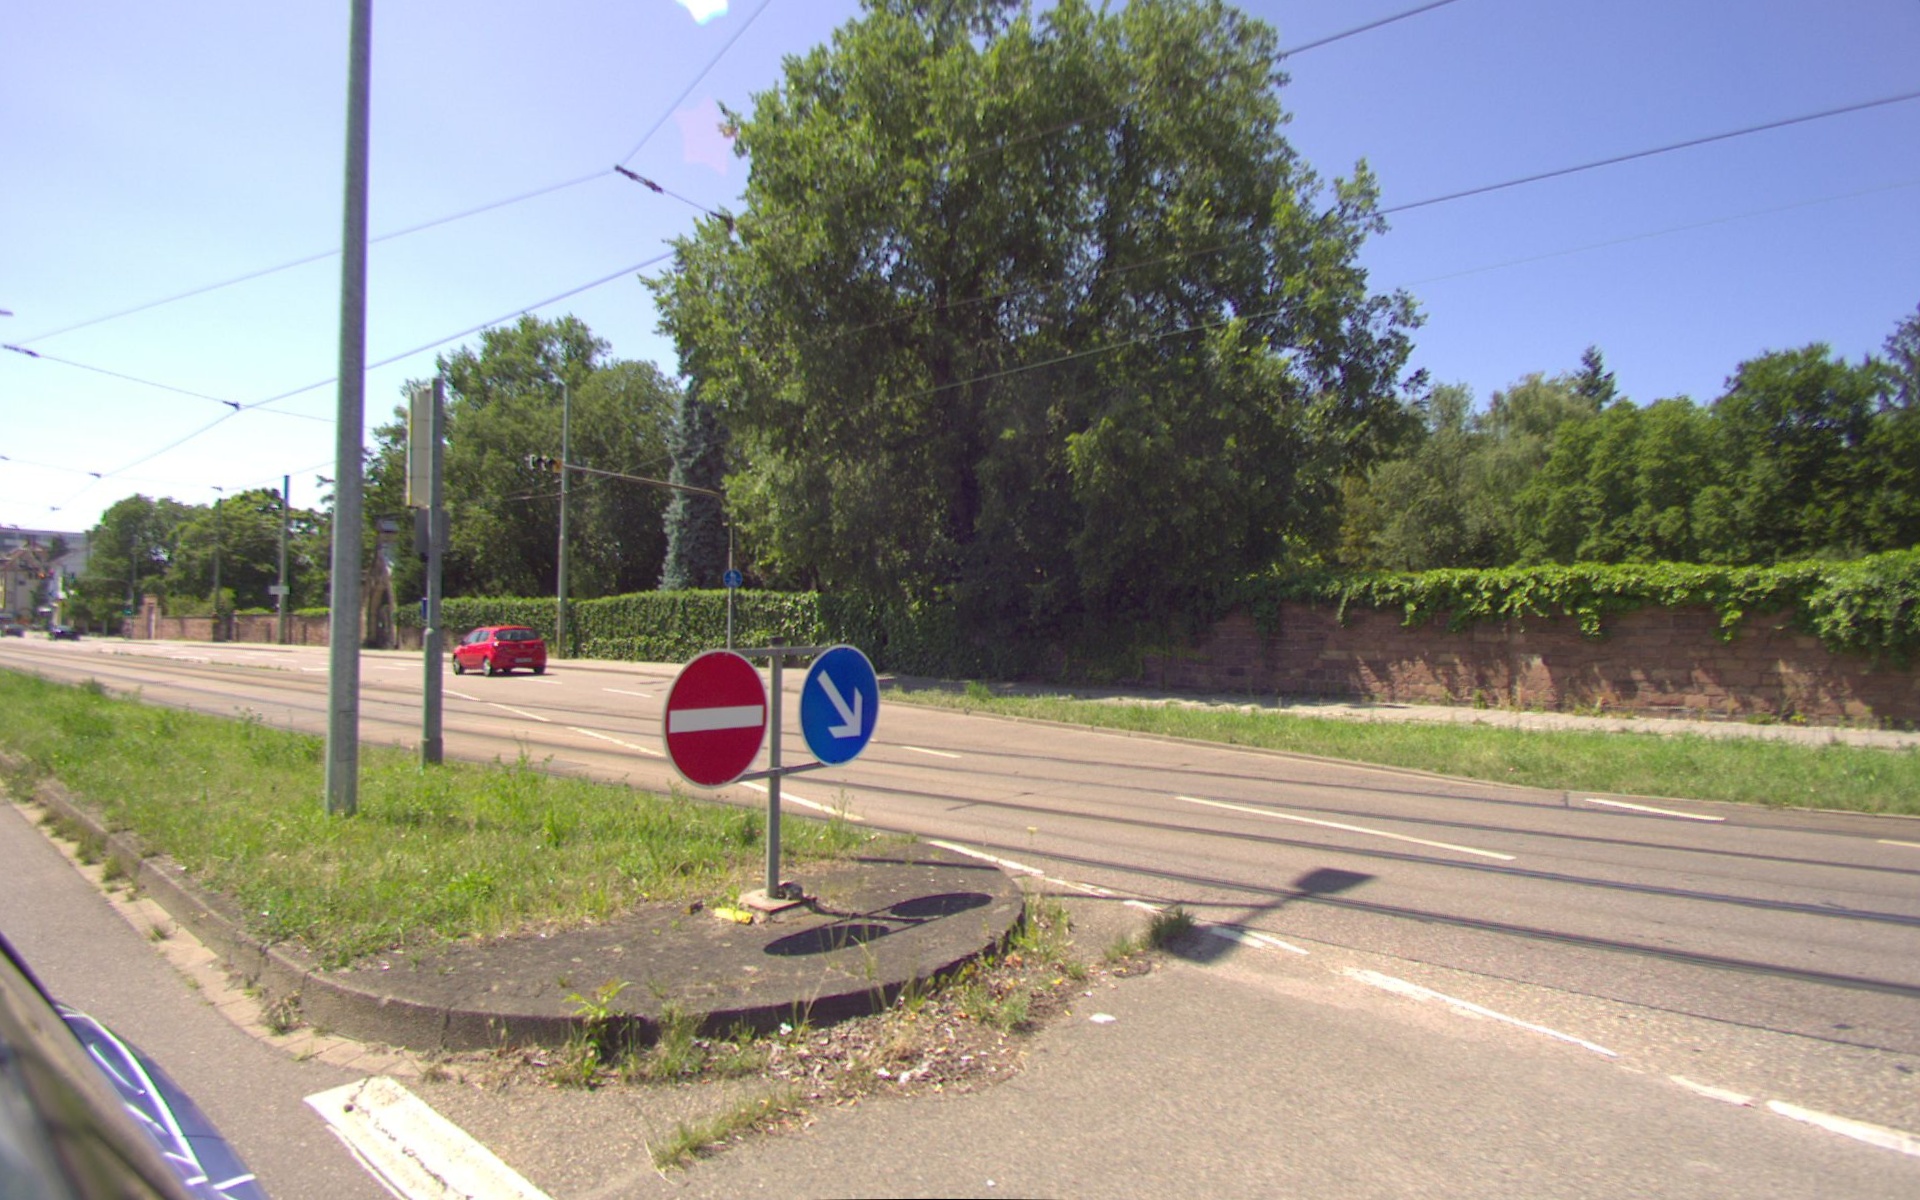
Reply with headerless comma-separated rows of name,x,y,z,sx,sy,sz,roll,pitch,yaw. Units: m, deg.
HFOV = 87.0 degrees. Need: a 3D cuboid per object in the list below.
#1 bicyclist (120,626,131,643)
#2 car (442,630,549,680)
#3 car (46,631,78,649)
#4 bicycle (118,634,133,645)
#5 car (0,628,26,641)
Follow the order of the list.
bicyclist,-74.498,3.107,90.324,0.662,1.508,0.646,-1,-2,39
car,-14.379,1.636,31.222,1.686,1.425,4.284,1,-2,-44
car,-79.578,3.536,89.627,4.123,1.459,1.737,-1,-1,43
bicycle,-74.479,3.508,90.289,2.112,0.964,0.646,-1,-2,40
car,-106.134,3.850,113.275,5.031,1.427,1.821,-2,0,41
